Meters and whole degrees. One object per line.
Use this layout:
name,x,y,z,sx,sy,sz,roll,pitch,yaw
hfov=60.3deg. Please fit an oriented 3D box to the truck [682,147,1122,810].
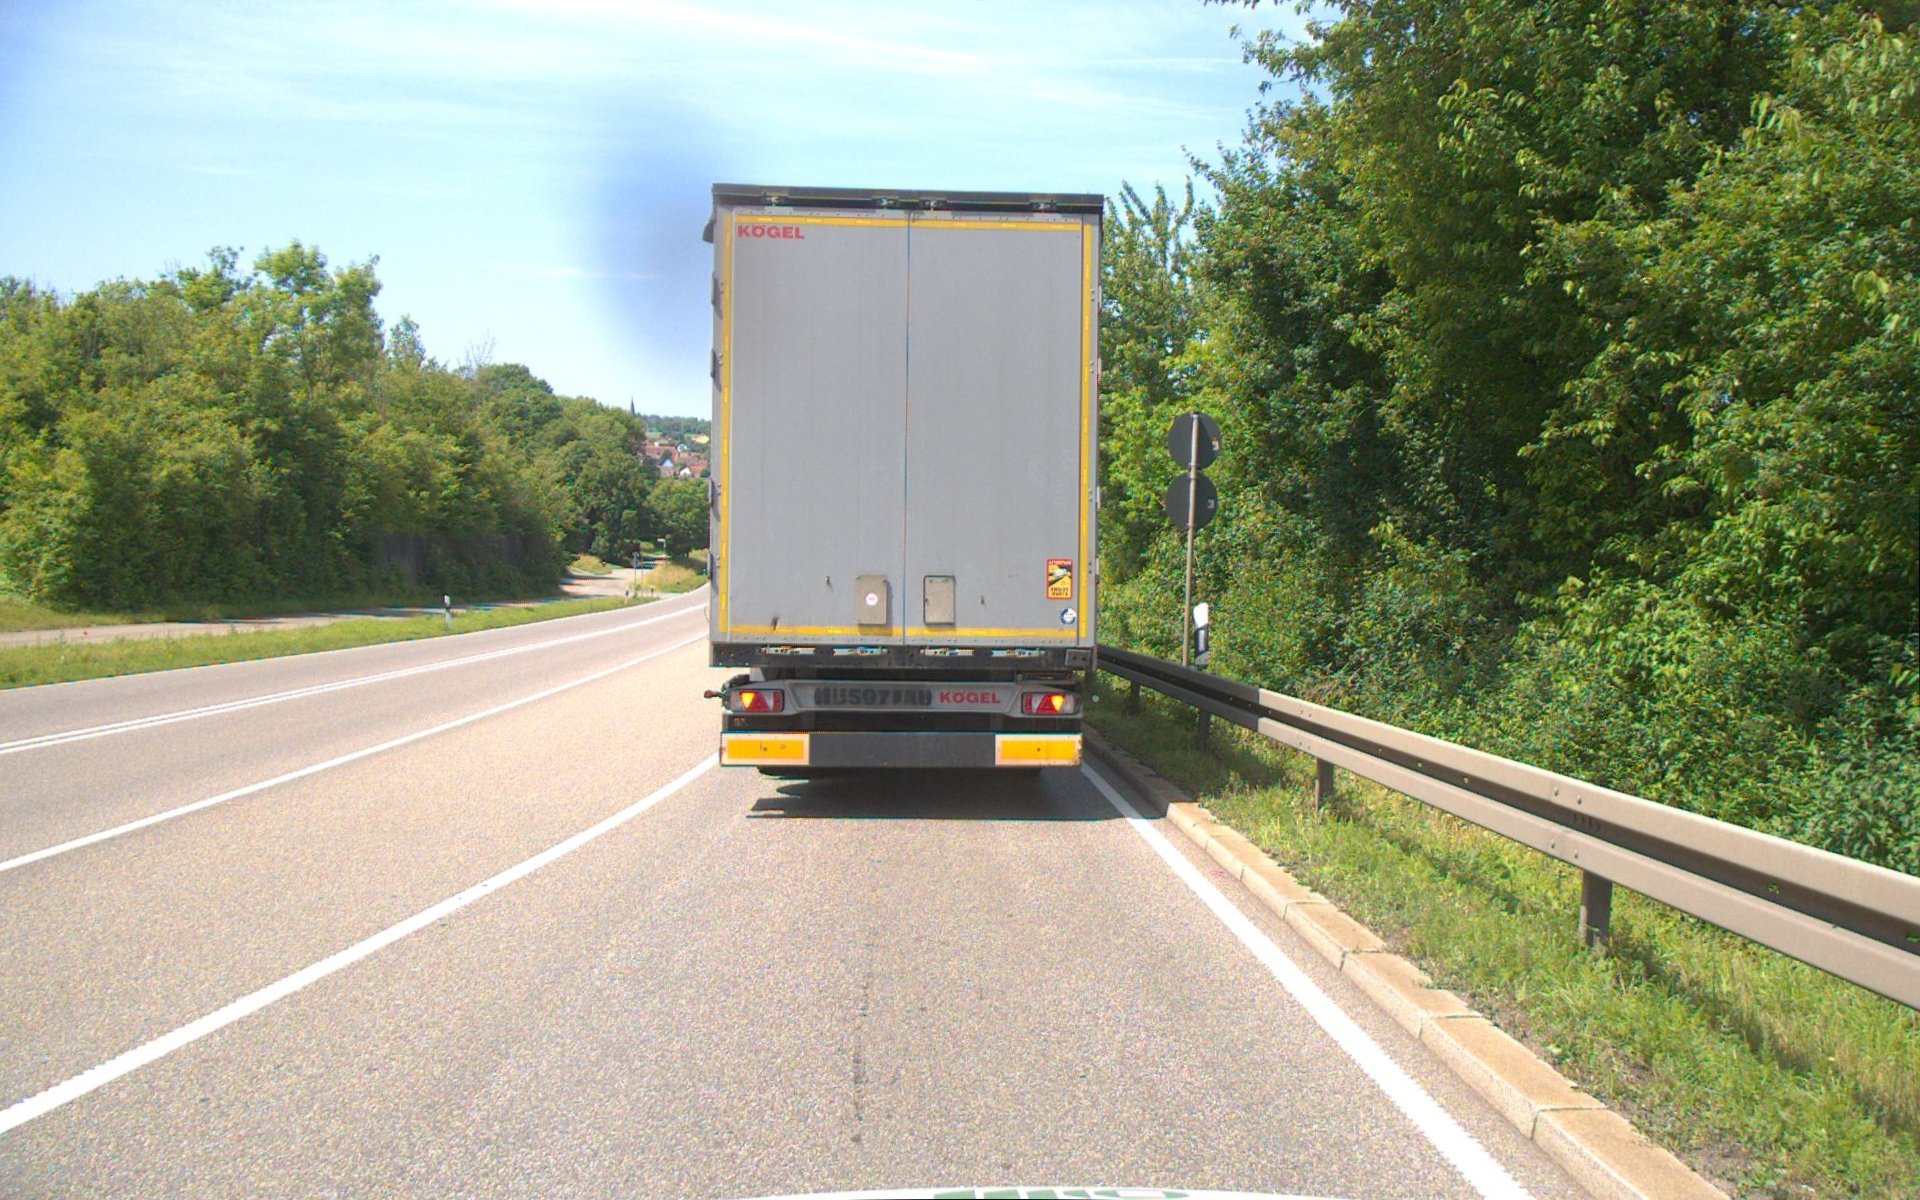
truck,-0.533,-0.801,16.285,2.701,4.100,11.920,1,0,-2
